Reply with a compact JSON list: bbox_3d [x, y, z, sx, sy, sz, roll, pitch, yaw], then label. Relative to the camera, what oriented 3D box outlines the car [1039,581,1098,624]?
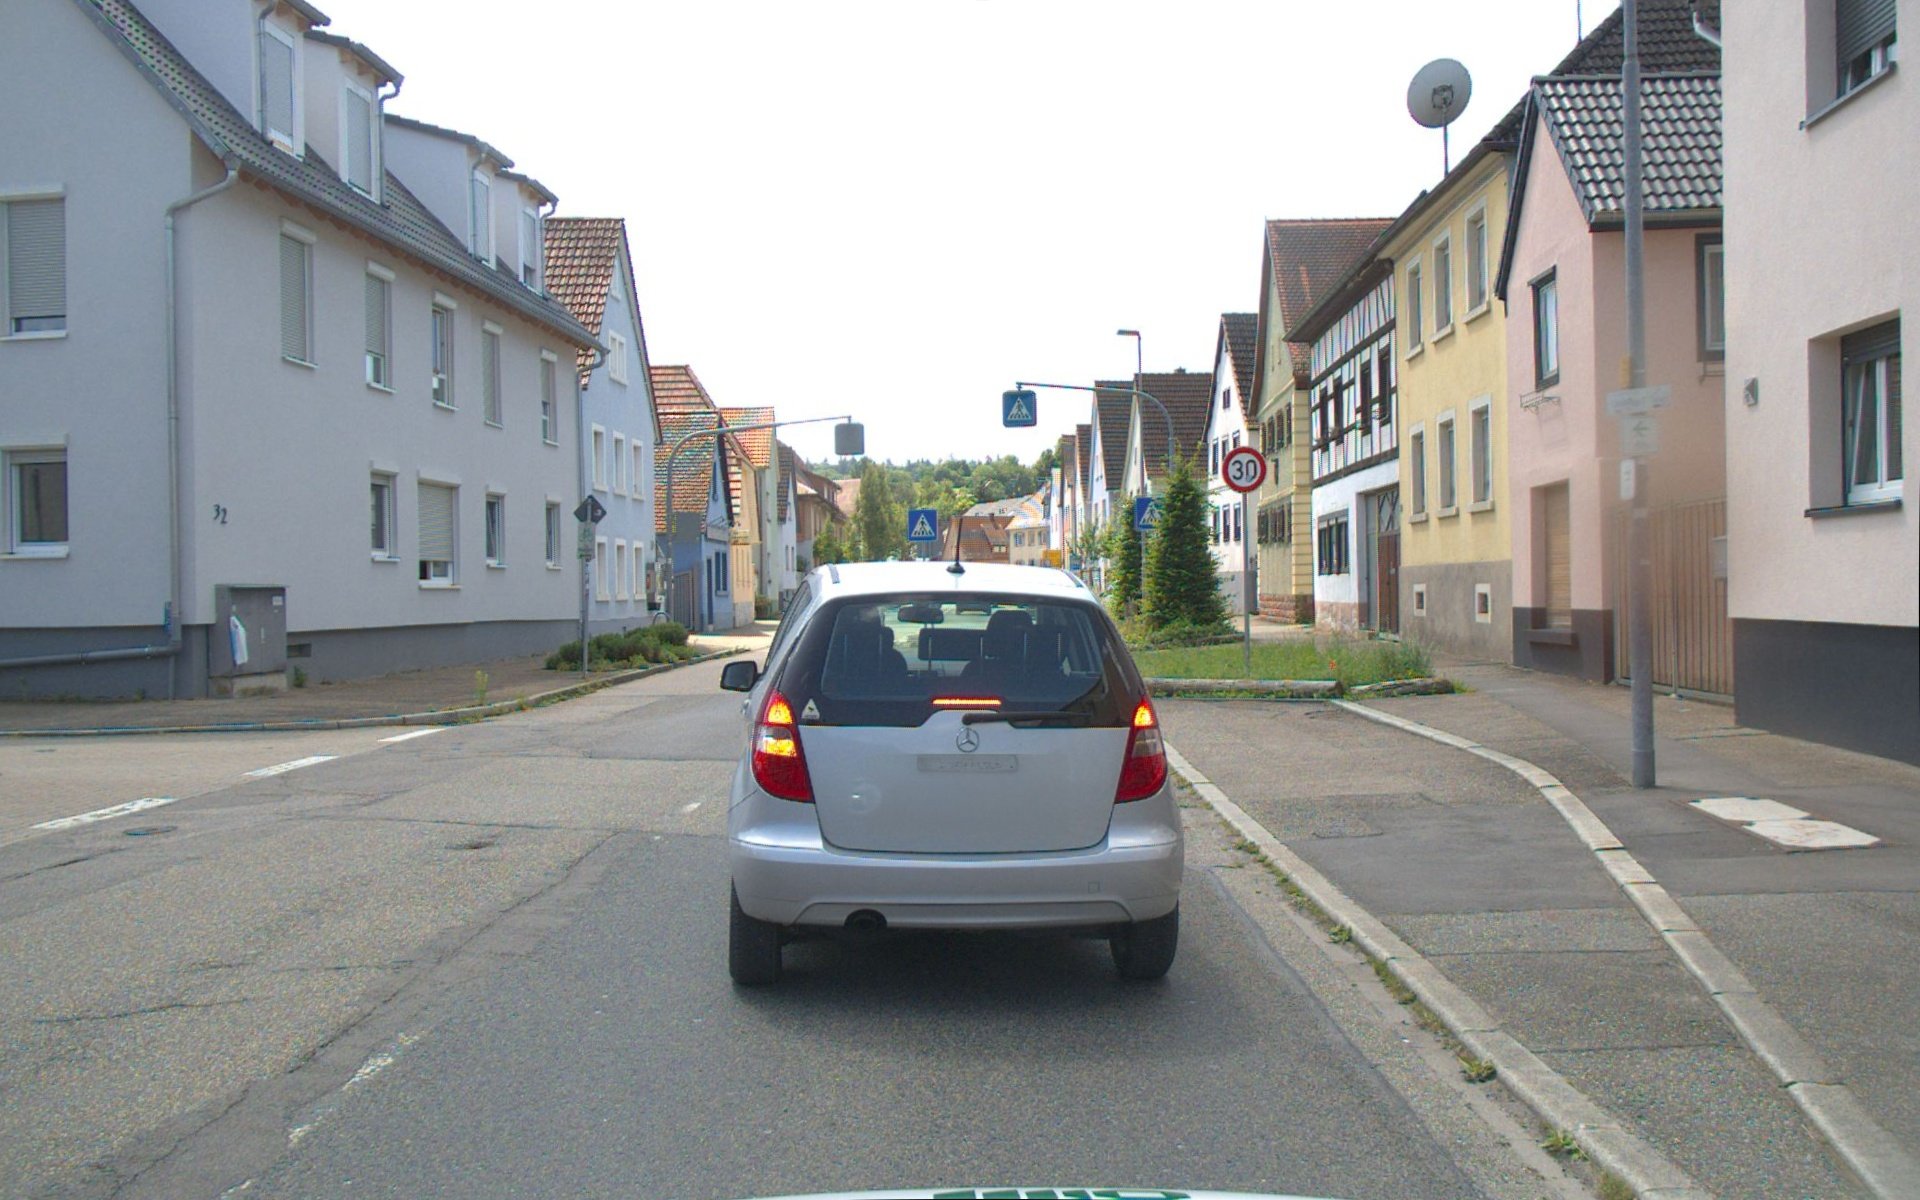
[{"bbox_3d":[4.086,0.131,62.843,1.953,1.534,3.999,0,-1,0],"label":"car"}]

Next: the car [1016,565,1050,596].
[{"bbox_3d":[4.657,-1.254,106.423,1.953,1.848,3.999,0,-1,-1],"label":"car"}]

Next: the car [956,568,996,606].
[{"bbox_3d":[0.781,-0.656,85.055,1.953,1.848,3.999,0,-1,-1],"label":"car"}]

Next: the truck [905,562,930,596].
[{"bbox_3d":[-3.464,-1.669,134.970,1.953,2.581,6.737,0,-1,-1],"label":"truck"}]

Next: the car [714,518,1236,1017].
[{"bbox_3d":[-0.151,0.579,7.516,1.776,1.672,3.723,1,0,-7],"label":"car"}]

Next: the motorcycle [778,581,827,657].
[{"bbox_3d":[-3.377,0.391,35.673,0.862,1.588,1.967,0,1,0],"label":"motorcycle"}]

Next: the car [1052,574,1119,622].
[{"bbox_3d":[4.207,-0.029,56.087,1.953,1.534,3.999,0,-1,0],"label":"car"}]

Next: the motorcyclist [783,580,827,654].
[{"bbox_3d":[-3.366,0.367,36.027,0.878,1.582,0.807,0,1,0],"label":"motorcyclist"}]

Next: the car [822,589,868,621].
[{"bbox_3d":[-5.151,0.233,73.767,1.955,1.344,3.704,0,-1,-5],"label":"car"}]

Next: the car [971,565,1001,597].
[{"bbox_3d":[1.794,-1.293,114.595,1.953,2.049,3.999,0,-1,0],"label":"car"}]

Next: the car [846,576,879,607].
[{"bbox_3d":[-5.424,-0.444,92.161,1.633,1.624,3.999,0,-1,0],"label":"car"}]
